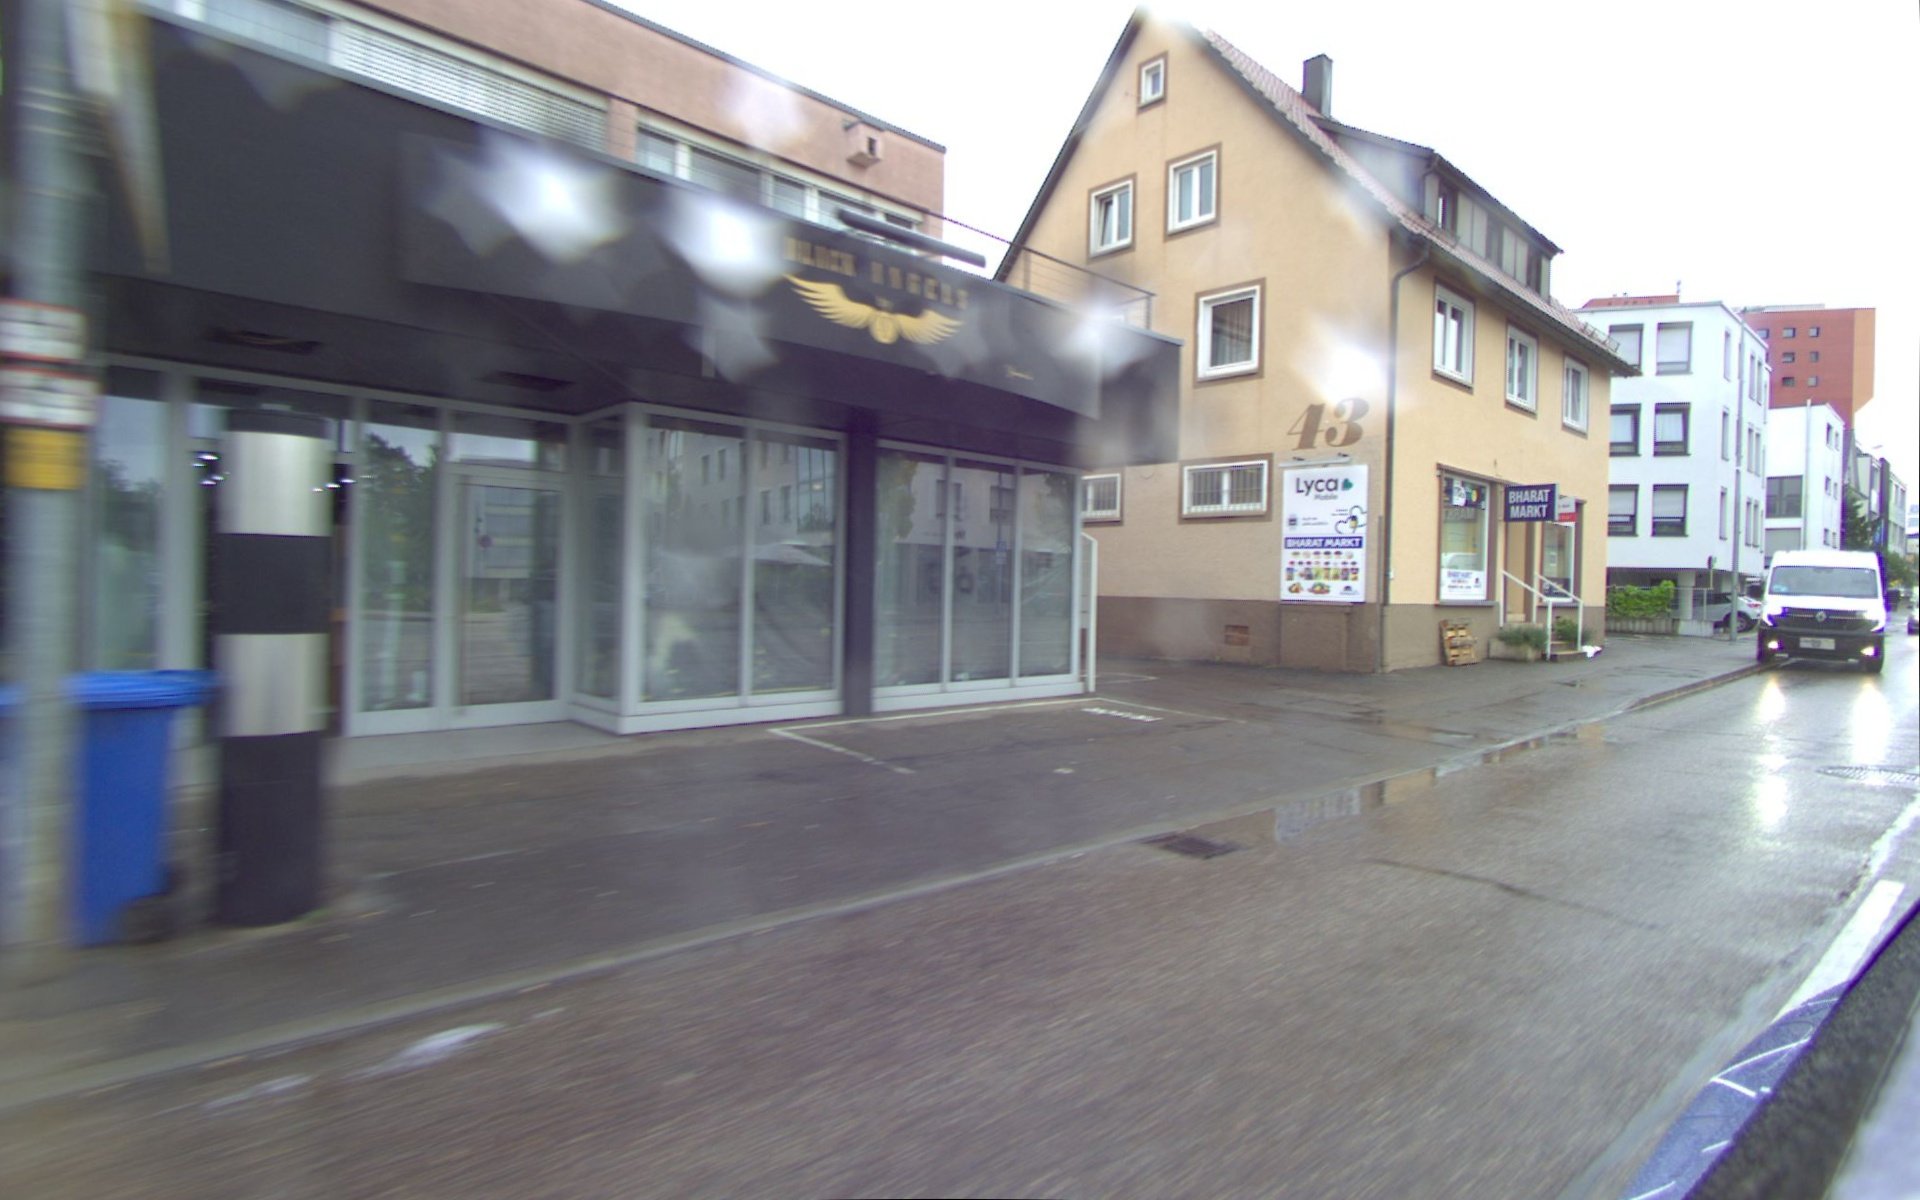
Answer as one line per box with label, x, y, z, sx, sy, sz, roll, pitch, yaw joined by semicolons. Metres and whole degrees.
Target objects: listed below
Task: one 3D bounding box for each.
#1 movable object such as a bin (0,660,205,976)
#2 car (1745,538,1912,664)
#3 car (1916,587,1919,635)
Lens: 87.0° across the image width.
movable object such as a bin;-3.486;0.810;4.045;0.686;1.088;0.637;3;0;-39
car;19.384;-0.127;22.447;2.292;2.411;6.519;3;4;45
car;38.654;0.428;39.425;2.012;1.641;4.293;1;3;44
